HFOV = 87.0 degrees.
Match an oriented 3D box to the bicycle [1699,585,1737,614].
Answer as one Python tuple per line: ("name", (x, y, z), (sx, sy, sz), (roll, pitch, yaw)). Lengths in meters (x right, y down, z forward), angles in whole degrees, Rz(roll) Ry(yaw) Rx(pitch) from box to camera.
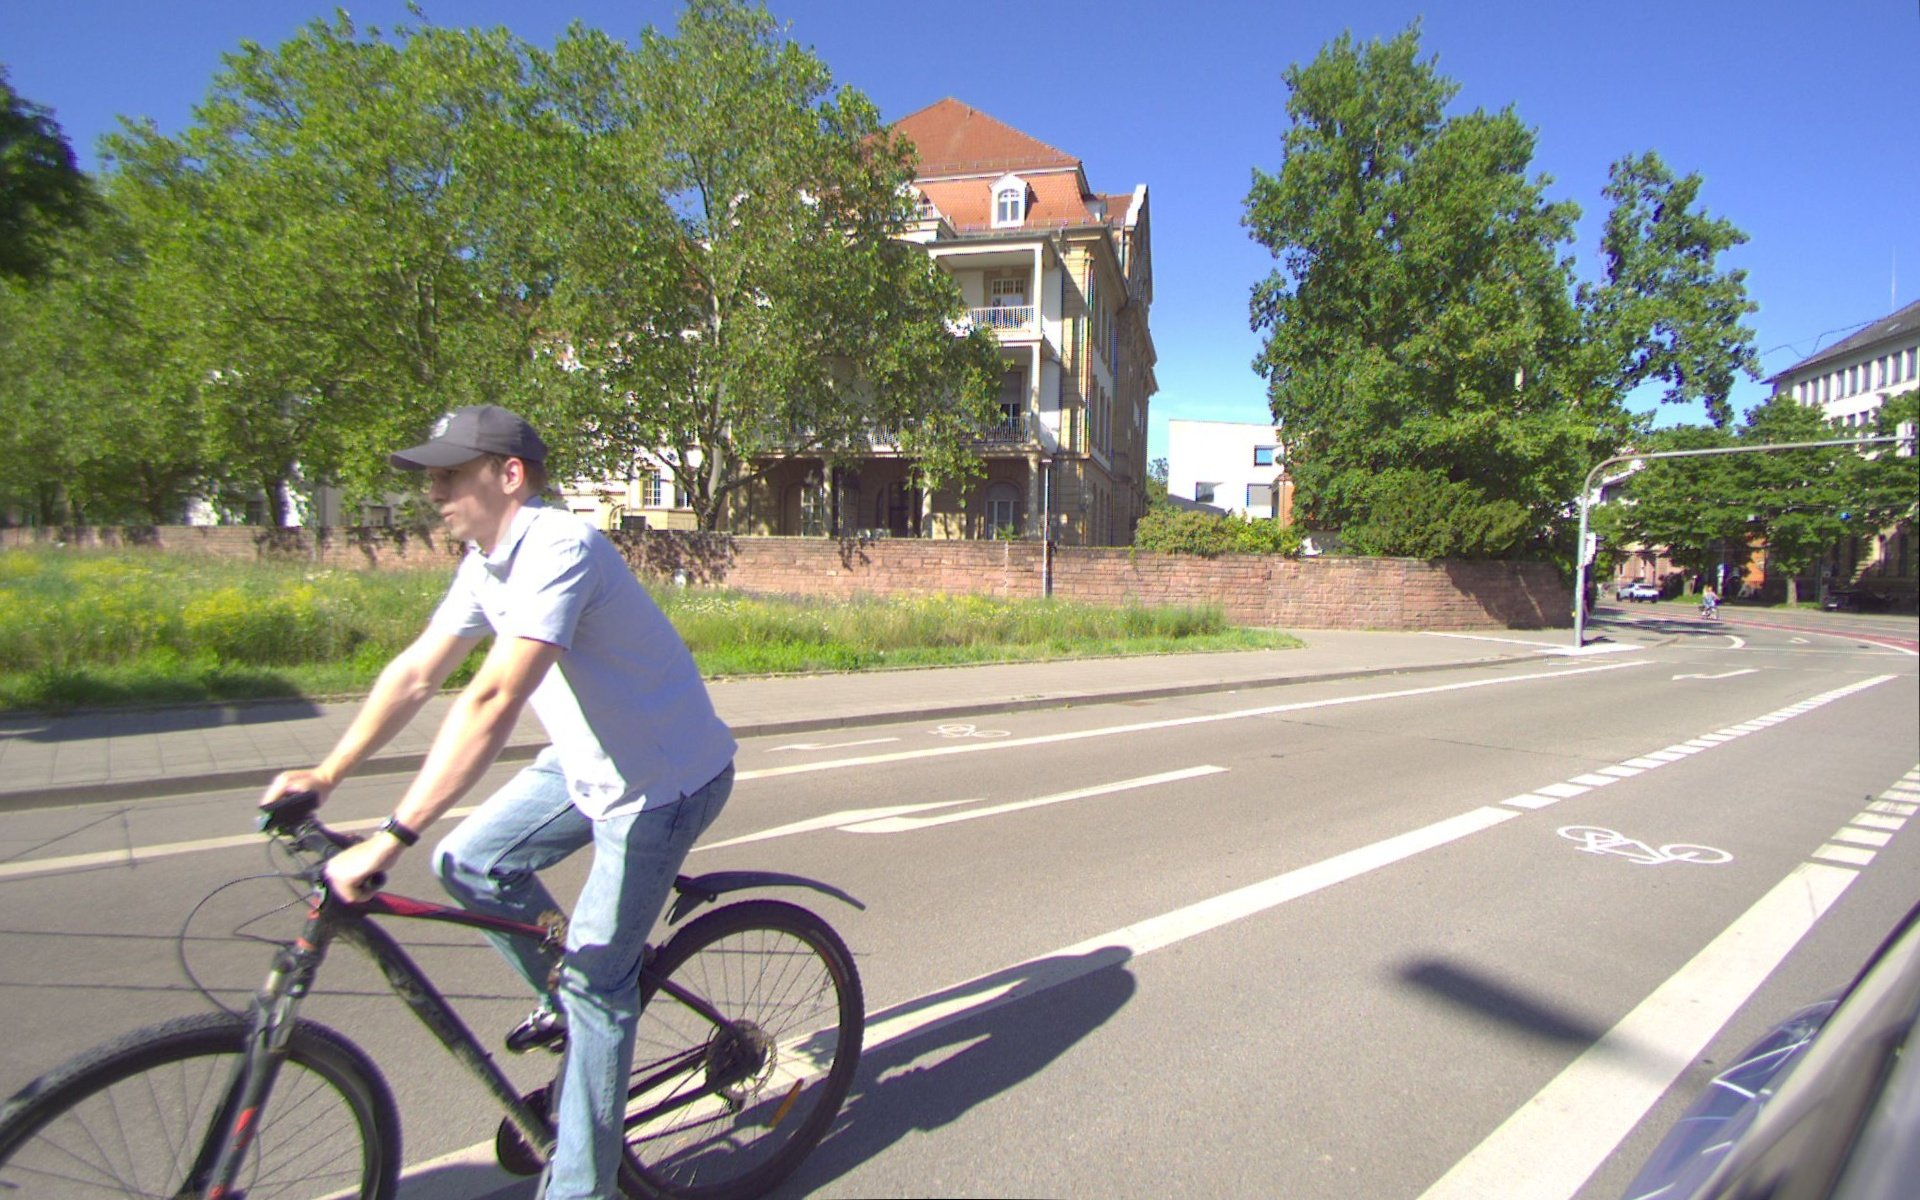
("bicycle", (38.655, -0.025, 51.649), (0.753, 1.385, 2.720), (2, 2, 20))

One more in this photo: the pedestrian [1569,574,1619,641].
("pedestrian", (18.485, 0.196, 29.506), (0.718, 1.872, 0.961), (0, 3, -37))

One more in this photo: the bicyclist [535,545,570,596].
("bicyclist", (-13.055, -0.946, 32.425), (0.768, 1.626, 0.717), (1, 1, 21))

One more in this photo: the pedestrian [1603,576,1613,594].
("pedestrian", (68.148, -1.616, 106.437), (0.749, 1.835, 0.972), (2, 2, 25))

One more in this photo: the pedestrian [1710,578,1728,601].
("pedestrian", (62.266, -0.842, 83.030), (0.745, 1.835, 0.978), (1, 1, 9))

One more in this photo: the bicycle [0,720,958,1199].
("bicycle", (-0.954, 0.906, 2.055), (1.870, 1.063, 0.749), (0, 2, -42))

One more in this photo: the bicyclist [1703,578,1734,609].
("bicyclist", (38.689, -0.344, 51.654), (0.859, 1.579, 1.272), (2, 2, 20))

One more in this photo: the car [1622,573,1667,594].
("car", (56.811, -1.427, 84.027), (1.823, 1.571, 4.313), (3, 3, 17))

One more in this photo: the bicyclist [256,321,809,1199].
("bicyclist", (-0.887, 0.412, 2.097), (0.851, 1.695, 0.741), (0, 2, -42))
